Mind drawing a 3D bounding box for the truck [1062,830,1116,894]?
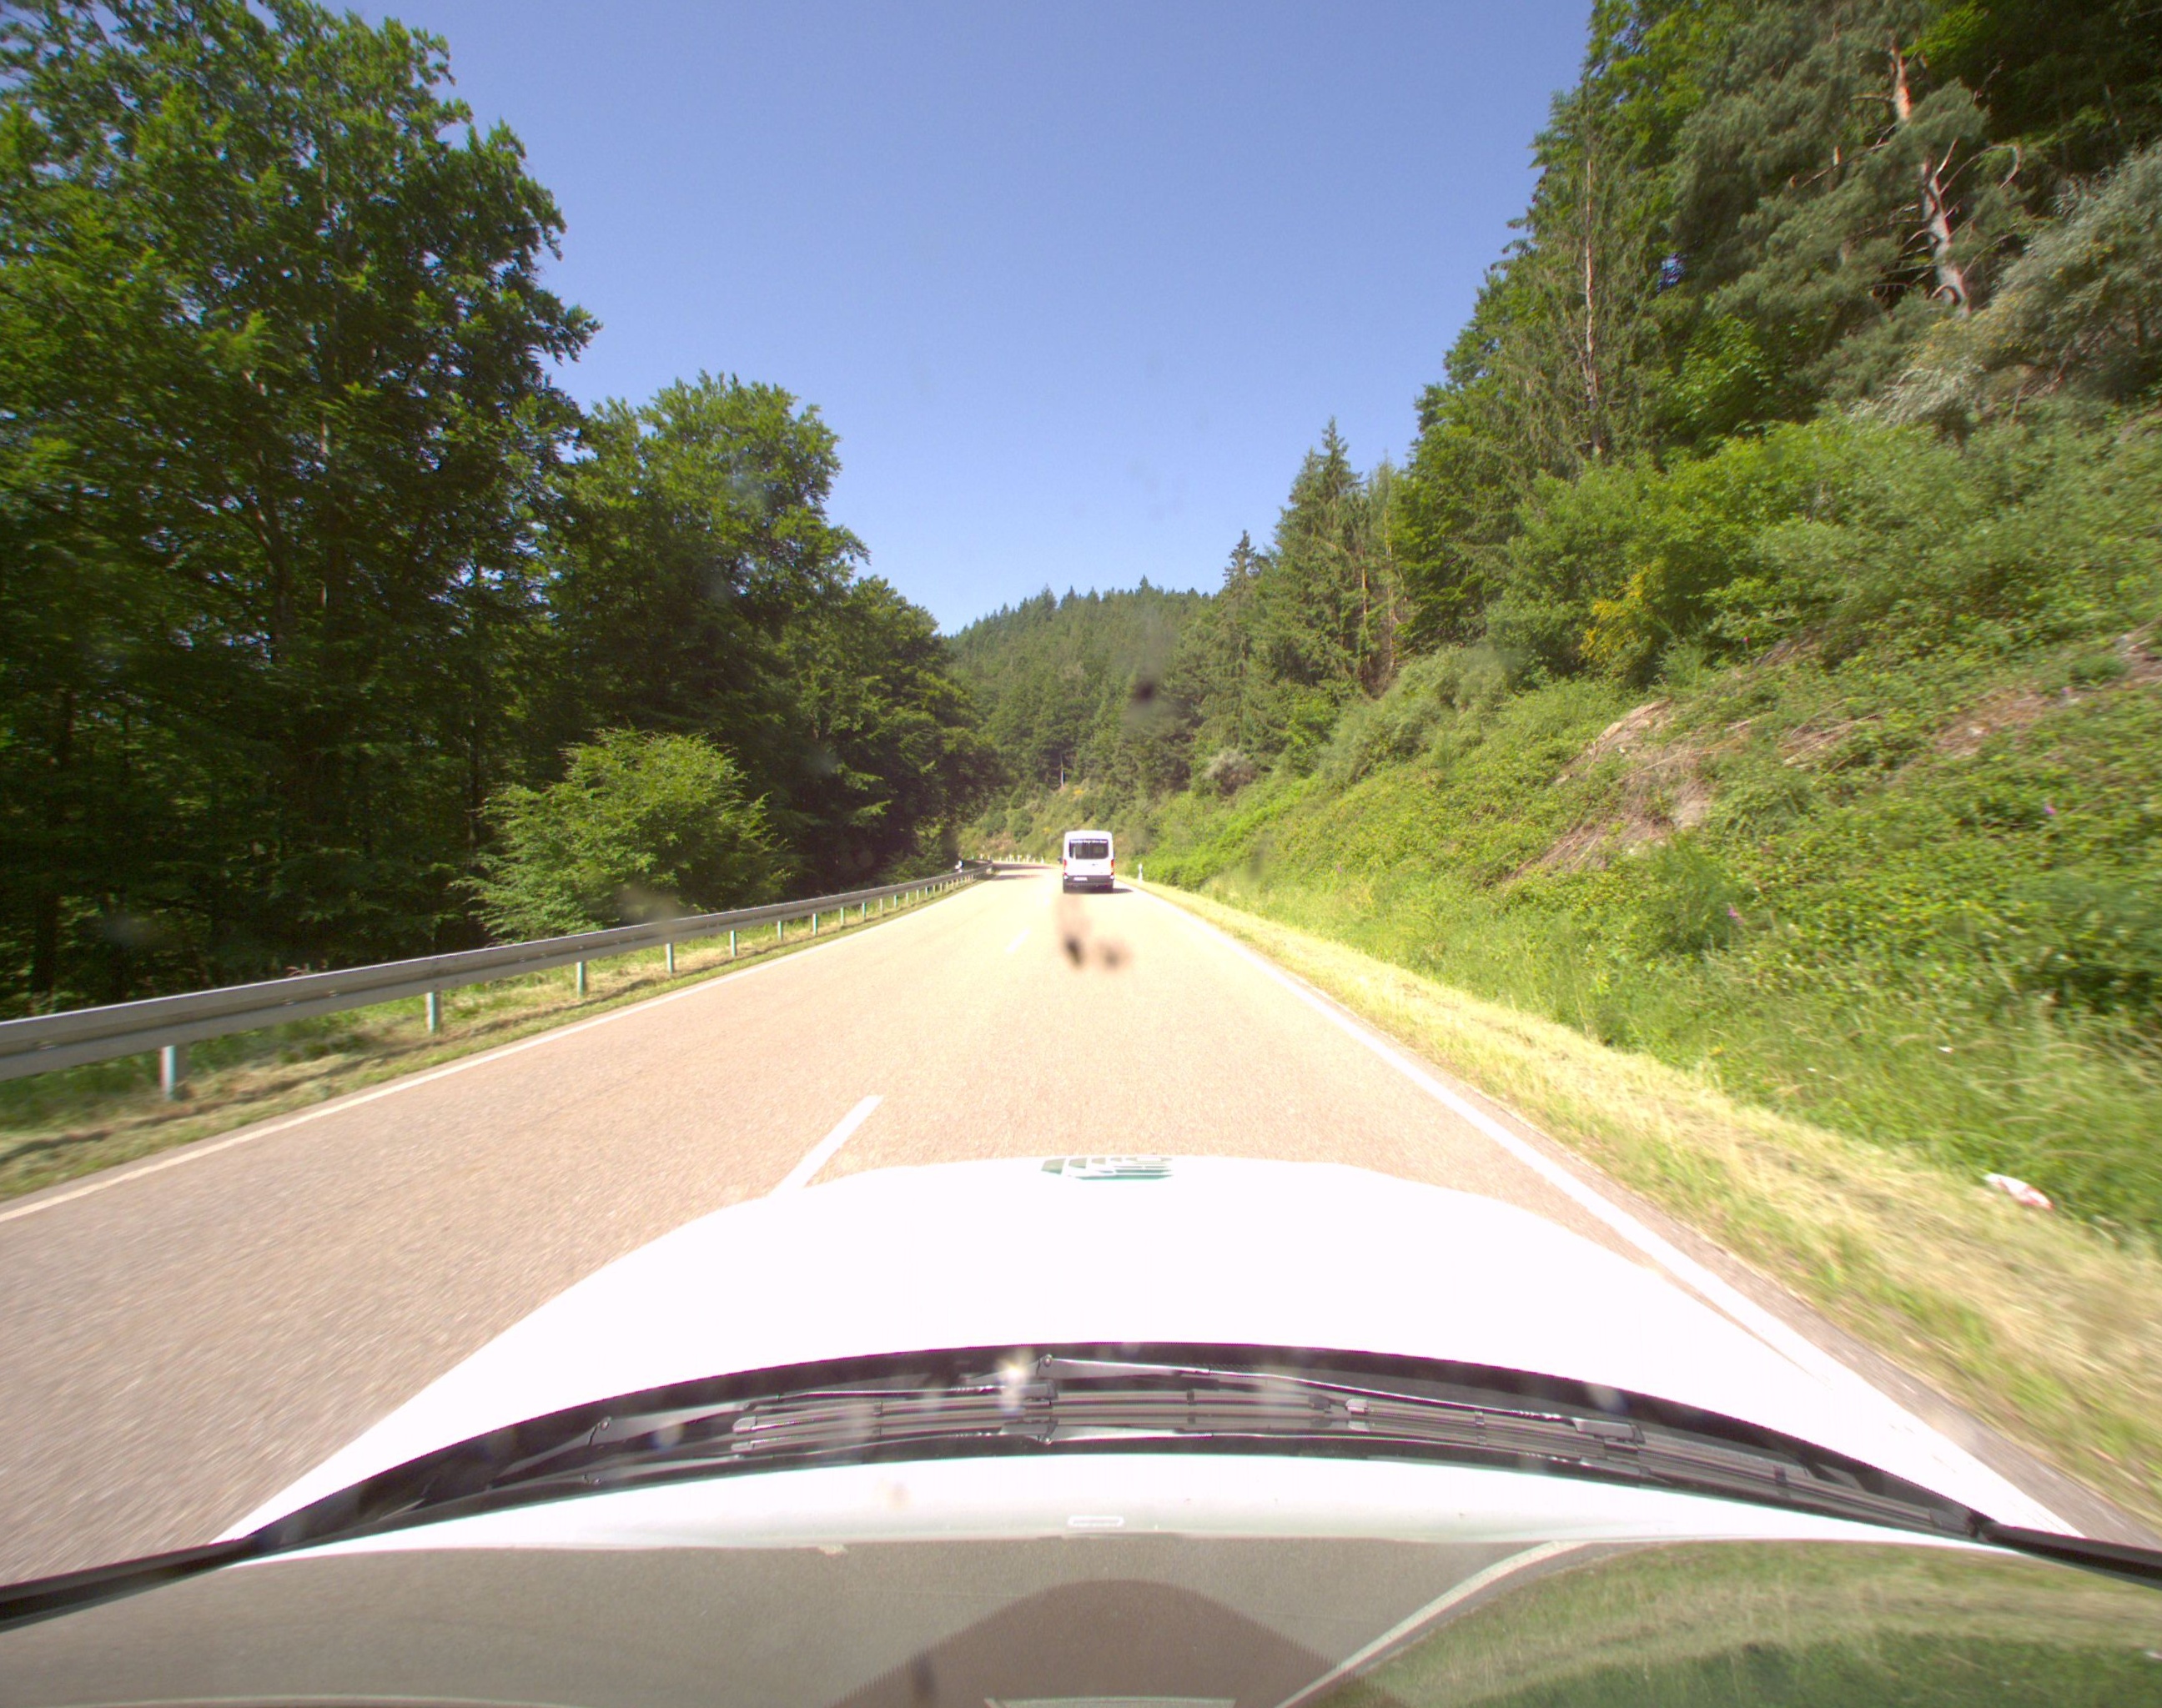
[{"bbox_3d":[0.239,0.296,33.799,2.078,2.459,4.872,0,0,-1],"label":"truck"}]
